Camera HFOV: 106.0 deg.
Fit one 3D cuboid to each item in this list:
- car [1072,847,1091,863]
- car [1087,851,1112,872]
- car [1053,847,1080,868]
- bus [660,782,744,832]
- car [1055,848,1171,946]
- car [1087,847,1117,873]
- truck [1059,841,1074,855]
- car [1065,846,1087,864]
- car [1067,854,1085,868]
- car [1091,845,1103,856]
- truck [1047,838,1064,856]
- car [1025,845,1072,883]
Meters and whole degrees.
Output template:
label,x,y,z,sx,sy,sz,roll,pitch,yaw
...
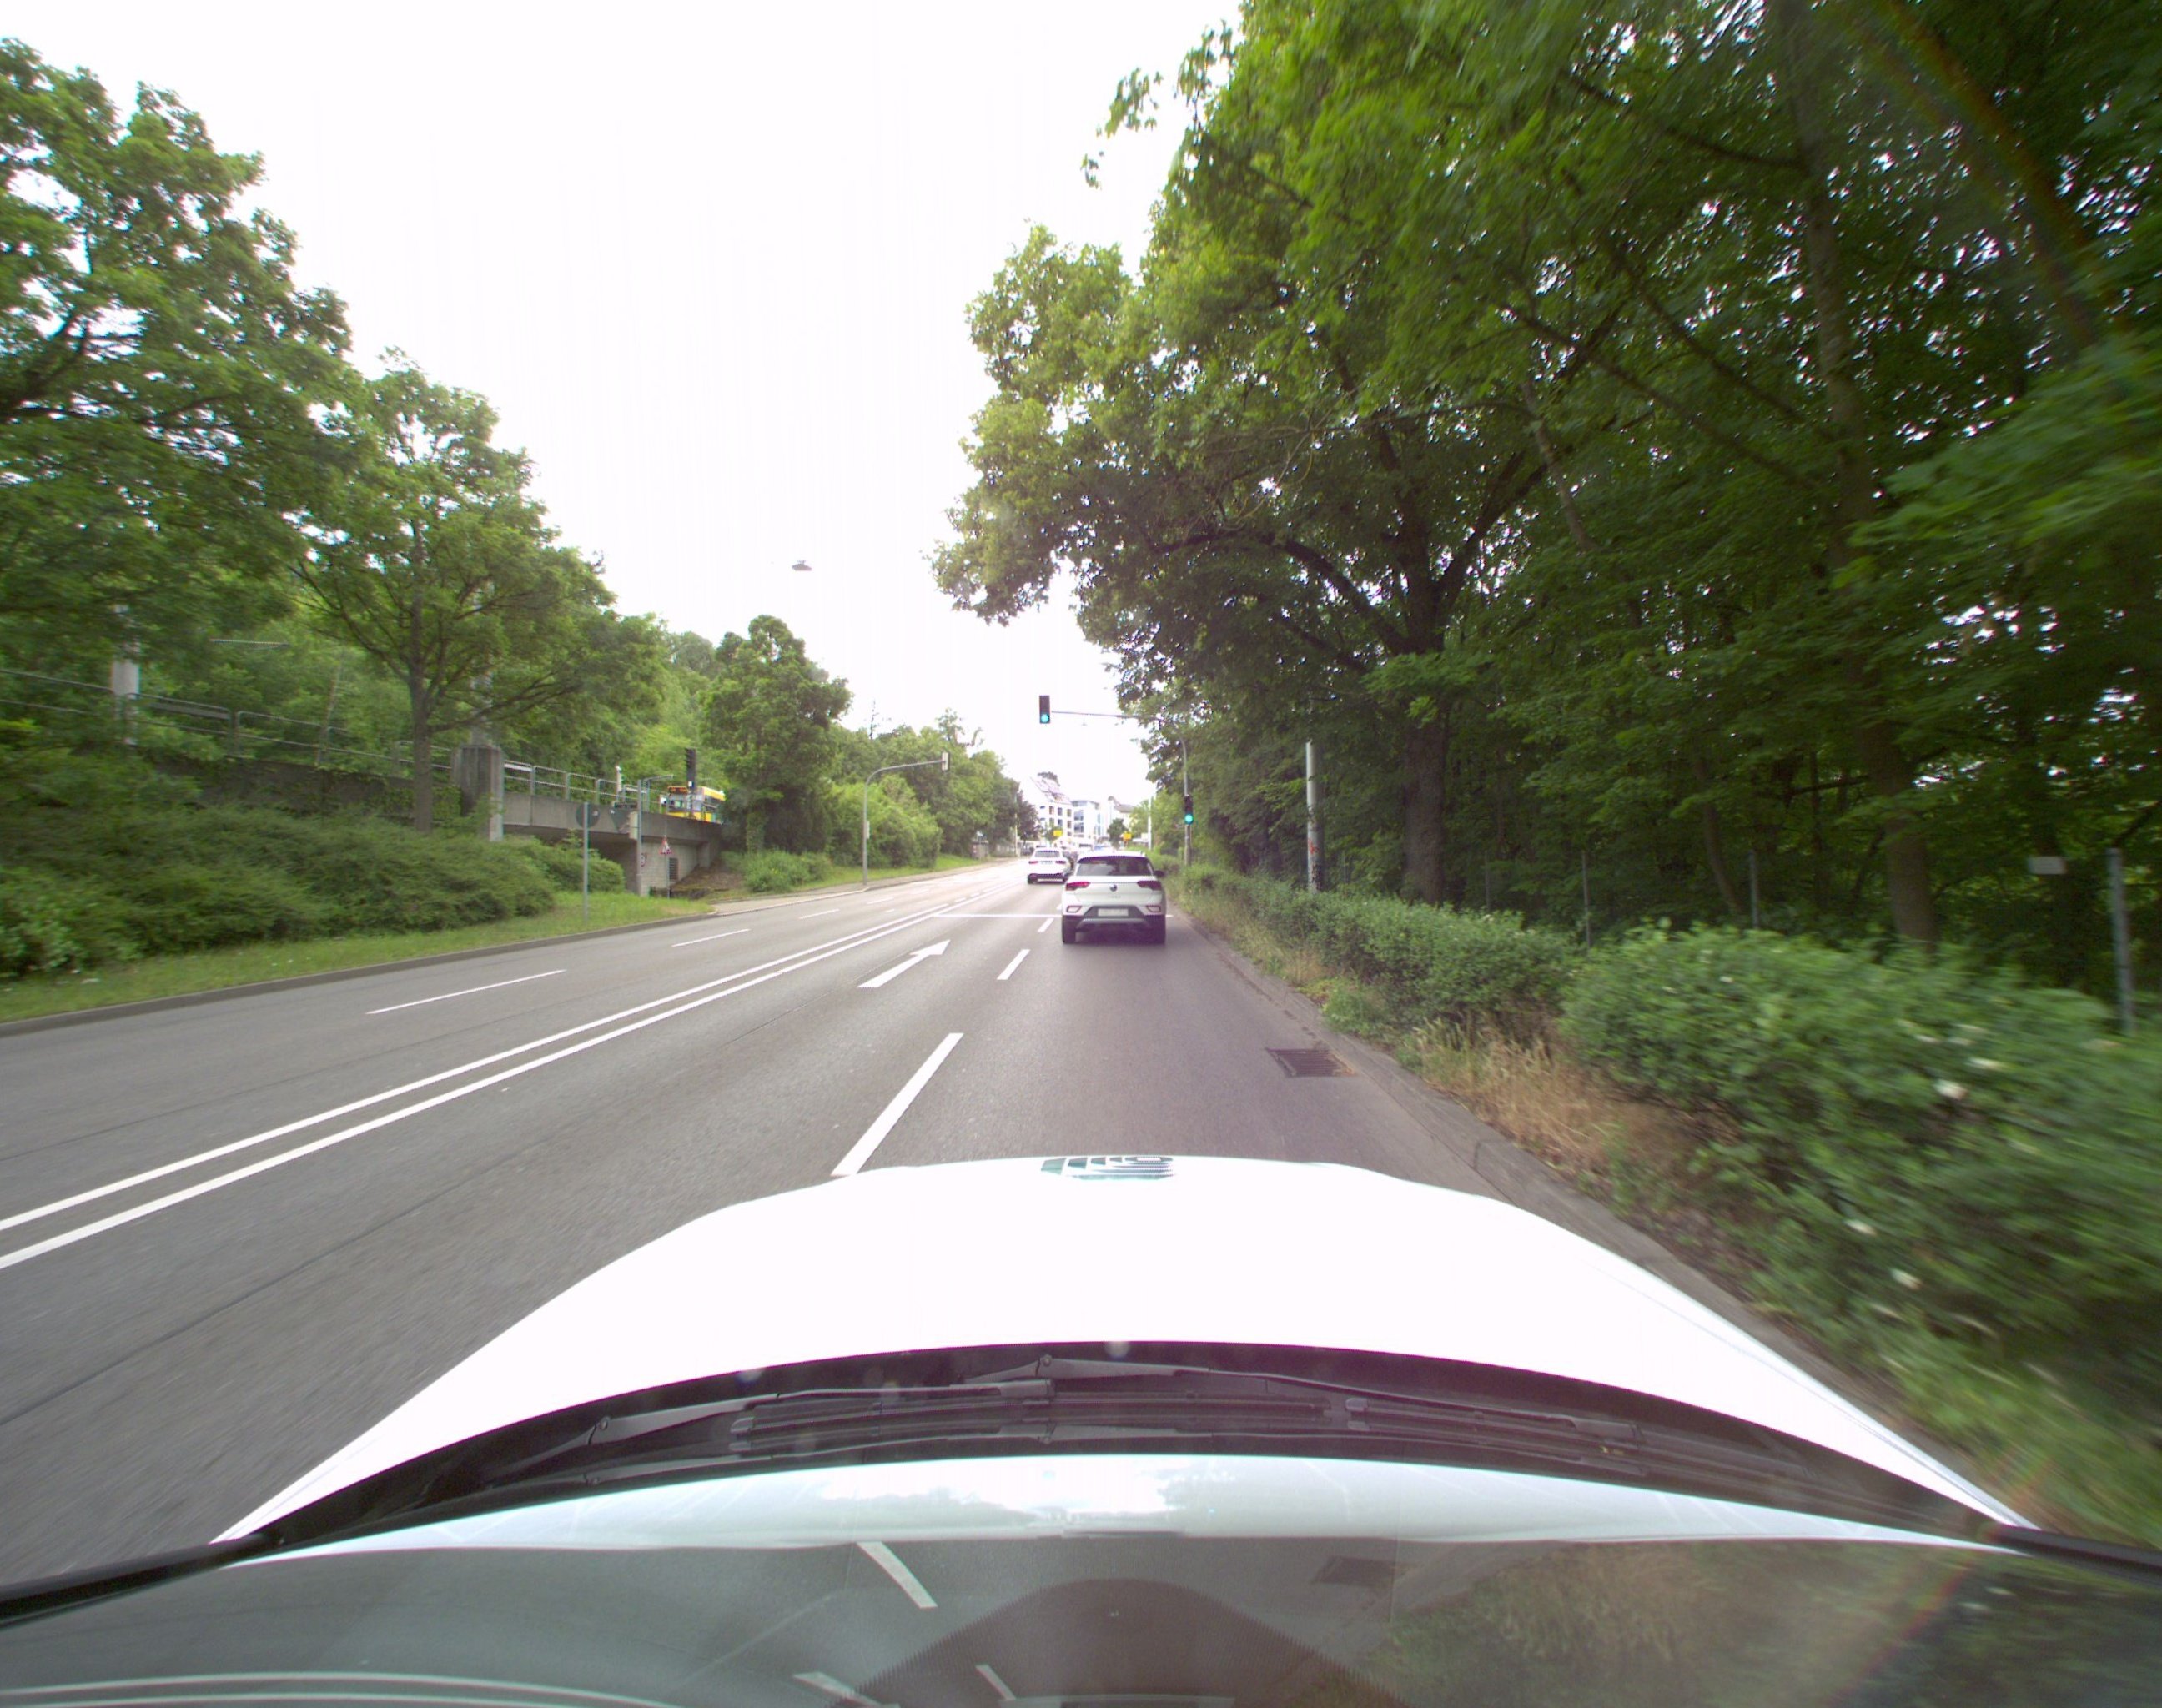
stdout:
label,x,y,z,sx,sy,sz,roll,pitch,yaw
car,0.073,0.097,83.567,1.822,1.526,4.001,-2,0,1
car,1.410,0.556,61.803,1.822,1.526,4.001,-2,0,1
car,-1.099,0.225,61.880,1.822,1.497,4.001,-2,0,1
bus,-26.328,-3.146,57.024,2.535,2.789,7.932,-2,-1,-4
car,0.568,0.684,15.062,1.822,1.526,4.001,-1,0,1
car,1.336,0.375,52.585,1.822,1.526,4.001,-2,0,1
truck,-3.081,-1.268,176.619,2.282,3.051,6.990,-2,0,6
car,-0.432,0.070,76.134,1.822,1.526,4.001,-2,0,1
car,-0.528,0.787,91.971,1.822,1.526,4.001,-2,0,1
car,2.388,-0.557,120.647,1.822,1.526,4.001,-2,0,1
truck,-3.919,-1.059,126.211,2.354,2.706,4.479,-2,0,1
car,-1.473,0.436,38.239,1.911,1.669,4.001,-2,0,1
